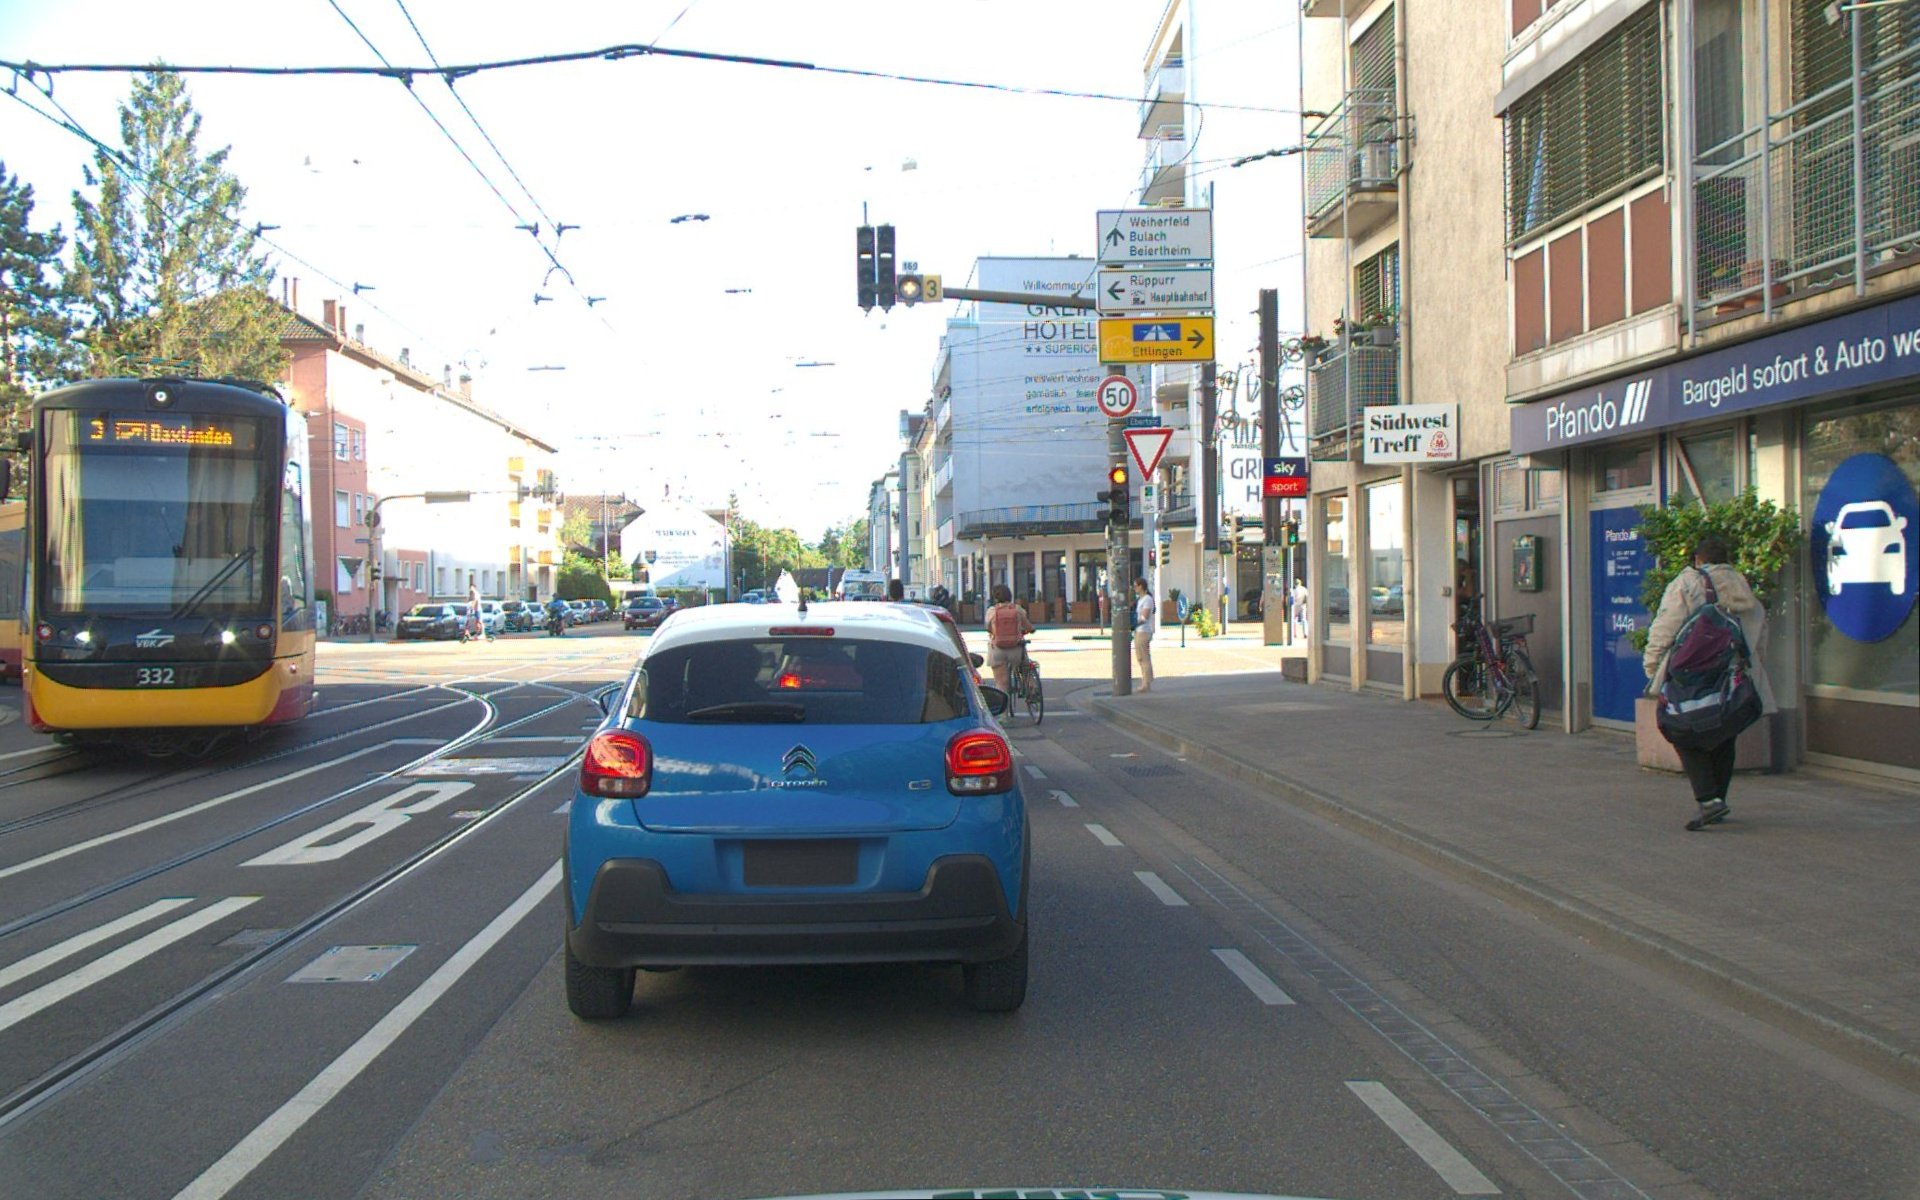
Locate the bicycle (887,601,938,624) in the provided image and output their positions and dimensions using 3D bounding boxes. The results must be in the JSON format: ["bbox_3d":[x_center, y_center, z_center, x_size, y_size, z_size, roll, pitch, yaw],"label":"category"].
[{"bbox_3d":[-1.965,0.502,68.299,2.093,0.917,0.366,1,-1,-10],"label":"bicycle"}]

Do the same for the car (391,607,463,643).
[{"bbox_3d":[-22.005,1.011,68.454,1.757,1.446,3.994,1,0,-2],"label":"car"}]

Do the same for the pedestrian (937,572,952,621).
[{"bbox_3d":[-0.661,-0.160,70.282,0.565,2.049,0.625,1,-1,-3],"label":"pedestrian"}]

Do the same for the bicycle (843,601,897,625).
[{"bbox_3d":[-3.600,0.527,66.150,2.093,0.917,0.366,1,-1,-10],"label":"bicycle"}]

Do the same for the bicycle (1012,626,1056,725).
[{"bbox_3d":[0.904,0.908,20.527,0.419,1.142,1.998,1,0,-1],"label":"bicycle"}]

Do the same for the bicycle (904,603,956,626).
[{"bbox_3d":[-1.214,0.597,67.493,2.093,0.917,0.366,1,-1,-10],"label":"bicycle"}]

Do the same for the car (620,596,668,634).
[{"bbox_3d":[-14.523,0.689,76.175,1.740,1.695,3.853,1,0,-4],"label":"car"}]

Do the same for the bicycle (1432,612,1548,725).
[{"bbox_3d":[5.050,0.628,15.844,0.531,1.016,1.705,1,0,-1],"label":"bicycle"}]

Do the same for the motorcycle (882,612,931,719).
[{"bbox_3d":[-0.613,0.732,19.396,0.515,1.159,2.289,1,0,-1],"label":"motorcycle"}]

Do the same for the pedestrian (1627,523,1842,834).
[{"bbox_3d":[4.219,0.412,9.065,0.808,1.620,0.751,1,-1,-1],"label":"pedestrian"}]

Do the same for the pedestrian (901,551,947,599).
[{"bbox_3d":[-1.600,-1.084,73.504,1.953,2.049,3.999,1,0,-1],"label":"pedestrian"}]

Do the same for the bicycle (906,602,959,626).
[{"bbox_3d":[-1.127,0.573,67.066,2.093,0.917,0.366,1,-1,-10],"label":"bicycle"}]

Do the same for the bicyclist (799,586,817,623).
[{"bbox_3d":[-6.269,0.172,68.390,0.552,1.503,0.743,1,-1,-20],"label":"bicyclist"}]

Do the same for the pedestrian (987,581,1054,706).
[{"bbox_3d":[0.736,0.525,20.241,0.761,1.486,0.681,1,-1,-1],"label":"pedestrian"}]

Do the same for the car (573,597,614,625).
[{"bbox_3d":[-23.385,0.697,105.565,1.944,1.716,3.997,1,0,-4],"label":"car"}]

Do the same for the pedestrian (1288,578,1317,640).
[{"bbox_3d":[9.475,0.259,45.750,0.736,1.686,0.884,1,-1,15],"label":"pedestrian"}]

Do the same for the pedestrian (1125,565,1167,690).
[{"bbox_3d":[2.738,0.395,24.398,0.507,1.814,0.595,1,-1,-3],"label":"pedestrian"}]

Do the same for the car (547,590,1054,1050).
[{"bbox_3d":[-0.541,0.724,7.139,1.620,1.469,3.522,1,0,-1],"label":"car"}]

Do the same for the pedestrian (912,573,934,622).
[{"bbox_3d":[-1.551,-0.112,69.160,0.625,2.049,0.715,1,-1,-37],"label":"pedestrian"}]

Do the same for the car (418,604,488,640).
[{"bbox_3d":[-22.315,0.954,72.916,1.778,1.524,4.299,1,0,-1],"label":"car"}]

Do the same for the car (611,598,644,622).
[{"bbox_3d":[-24.298,0.710,120.909,1.809,1.716,3.871,1,0,-4],"label":"car"}]

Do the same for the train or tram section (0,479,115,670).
[{"bbox_3d":[-24.280,-0.580,36.205,13.945,3.695,2.750,1,0,28],"label":"train or tram section"}]

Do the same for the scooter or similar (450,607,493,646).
[{"bbox_3d":[-16.682,0.896,56.498,1.326,1.291,0.442,-1,0,-12],"label":"scooter or similar"}]

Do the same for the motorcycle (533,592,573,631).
[{"bbox_3d":[-16.352,0.473,66.524,0.905,1.512,3.723,1,0,-4],"label":"motorcycle"}]

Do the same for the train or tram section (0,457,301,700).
[{"bbox_3d":[-14.937,-0.364,29.365,2.813,3.694,8.937,1,0,-44],"label":"train or tram section"}]

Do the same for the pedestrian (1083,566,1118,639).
[{"bbox_3d":[3.981,0.069,46.960,0.907,2.049,0.759,1,-1,-1],"label":"pedestrian"}]

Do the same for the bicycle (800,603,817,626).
[{"bbox_3d":[-6.278,0.593,68.393,0.343,0.919,1.851,1,0,-16],"label":"bicycle"}]

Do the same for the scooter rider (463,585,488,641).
[{"bbox_3d":[-16.556,0.439,56.502,0.709,1.864,0.715,-1,0,-11],"label":"scooter rider"}]

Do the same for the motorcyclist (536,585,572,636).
[{"bbox_3d":[-16.402,0.420,66.848,1.162,2.049,1.274,-1,0,-4],"label":"motorcyclist"}]

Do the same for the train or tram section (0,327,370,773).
[{"bbox_3d":[-9.271,-0.390,19.833,3.023,3.656,12.530,-1,0,-25],"label":"train or tram section"}]

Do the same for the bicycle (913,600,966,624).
[{"bbox_3d":[-0.811,0.486,65.893,2.093,0.917,0.366,1,-1,-10],"label":"bicycle"}]

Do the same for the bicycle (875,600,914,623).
[{"bbox_3d":[-2.760,0.480,69.360,1.751,0.917,0.365,1,-1,34],"label":"bicycle"}]

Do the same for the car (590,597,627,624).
[{"bbox_3d":[-23.553,0.681,110.918,1.845,1.716,3.997,1,0,-4],"label":"car"}]

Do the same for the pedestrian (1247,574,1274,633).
[{"bbox_3d":[8.395,0.104,46.207,0.720,1.629,0.749,1,-1,12],"label":"pedestrian"}]

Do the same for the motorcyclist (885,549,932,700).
[{"bbox_3d":[-0.606,0.291,19.586,0.516,1.746,0.717,1,-1,-1],"label":"motorcyclist"}]

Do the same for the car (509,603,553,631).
[{"bbox_3d":[-23.775,0.918,91.756,1.699,1.524,3.996,1,0,-5],"label":"car"}]

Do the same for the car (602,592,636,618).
[{"bbox_3d":[-23.942,0.361,116.302,1.797,1.716,3.997,1,0,-4],"label":"car"}]

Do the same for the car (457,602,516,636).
[{"bbox_3d":[-22.603,0.886,79.084,1.751,1.537,4.148,1,0,-2],"label":"car"}]

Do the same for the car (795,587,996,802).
[{"bbox_3d":[-0.474,0.674,13.140,1.395,1.493,2.923,-1,0,-1],"label":"car"}]

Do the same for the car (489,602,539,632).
[{"bbox_3d":[-23.073,0.873,85.673,1.750,1.524,3.997,1,0,-4],"label":"car"}]
